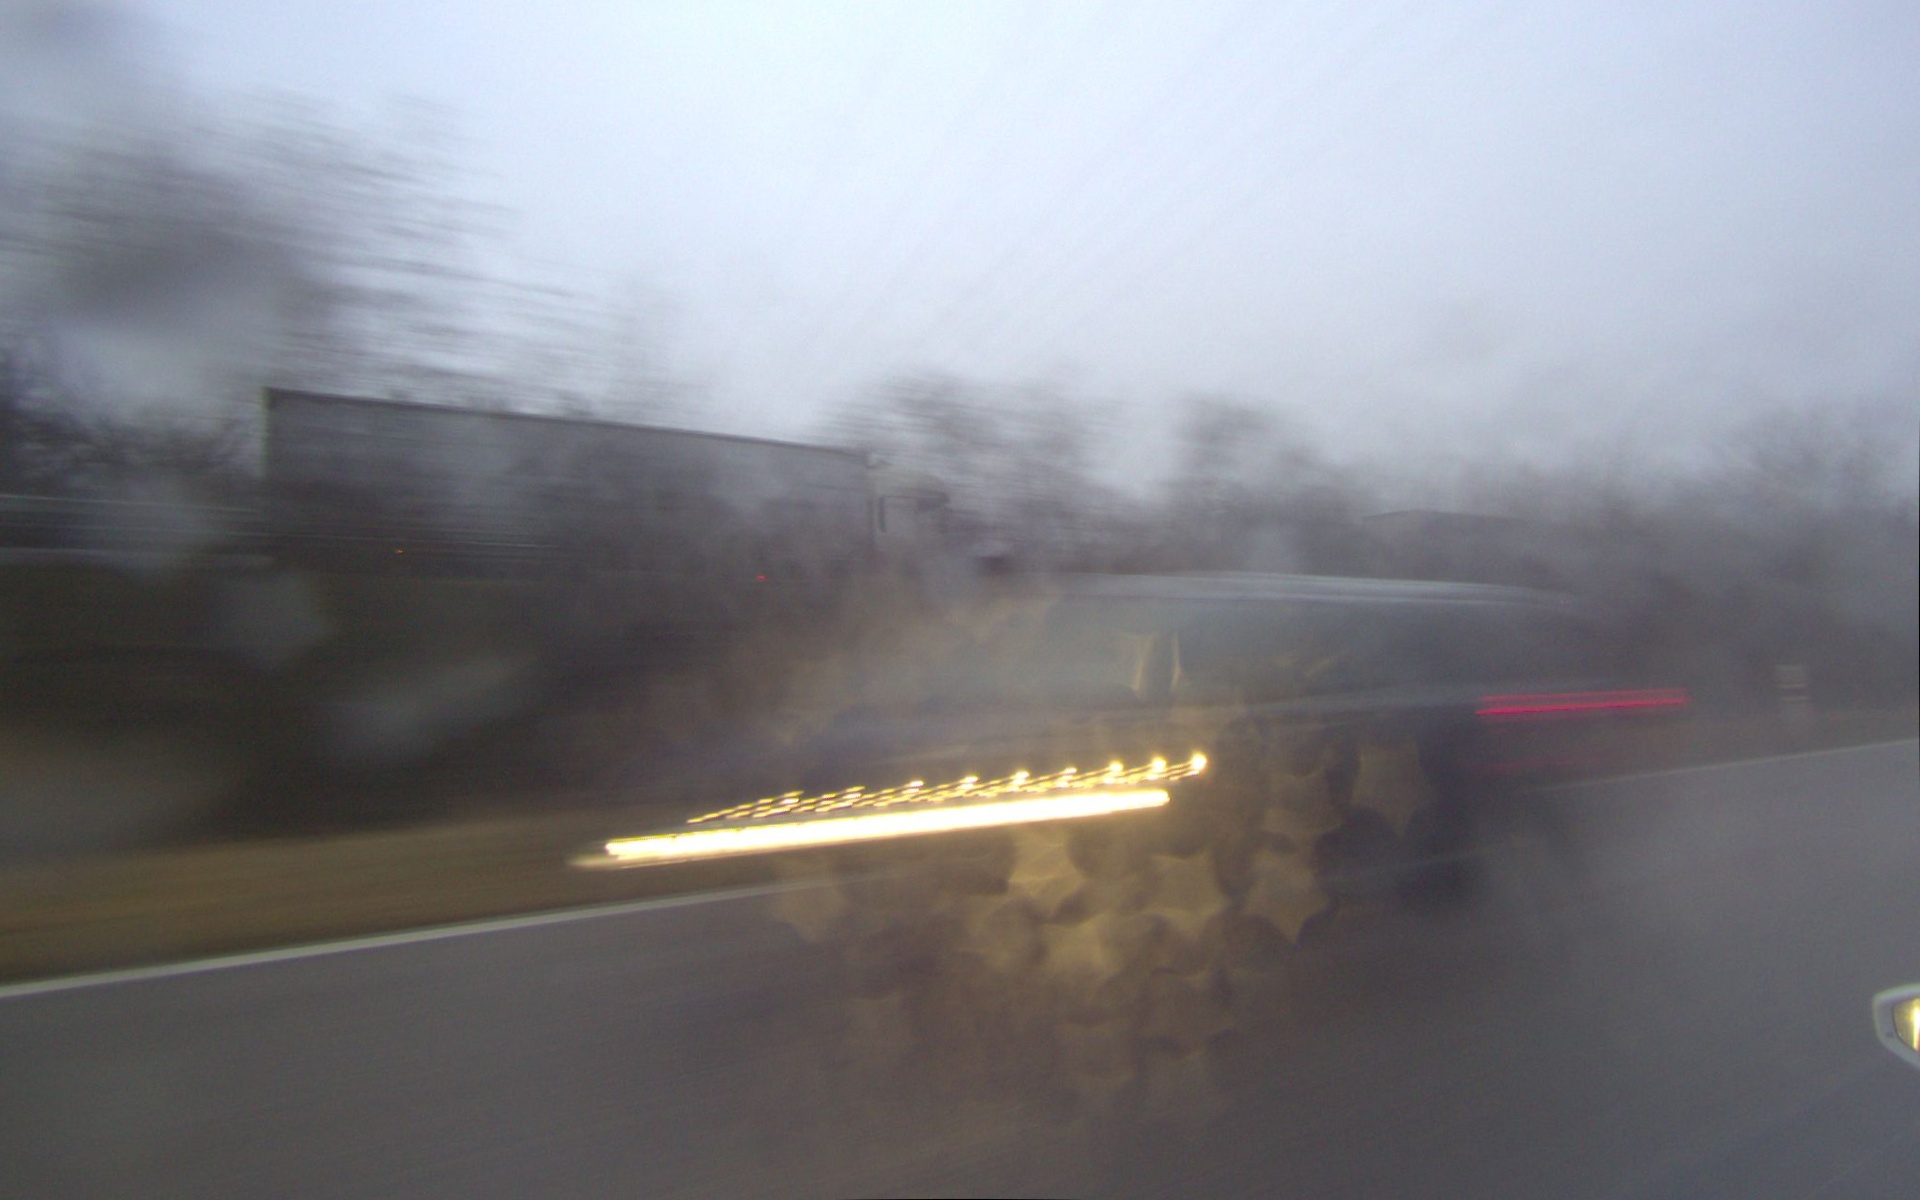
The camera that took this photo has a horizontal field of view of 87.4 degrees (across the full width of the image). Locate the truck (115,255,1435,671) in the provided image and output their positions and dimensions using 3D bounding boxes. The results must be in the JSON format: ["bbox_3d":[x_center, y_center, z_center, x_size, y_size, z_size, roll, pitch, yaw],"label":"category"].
[{"bbox_3d":[-0.532,-2.035,32.234,39.681,7.815,7.507,2,0,-31],"label":"truck"}]

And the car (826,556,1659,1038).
[{"bbox_3d":[1.575,0.706,5.200,4.161,1.635,1.727,1,0,-30],"label":"car"}]
